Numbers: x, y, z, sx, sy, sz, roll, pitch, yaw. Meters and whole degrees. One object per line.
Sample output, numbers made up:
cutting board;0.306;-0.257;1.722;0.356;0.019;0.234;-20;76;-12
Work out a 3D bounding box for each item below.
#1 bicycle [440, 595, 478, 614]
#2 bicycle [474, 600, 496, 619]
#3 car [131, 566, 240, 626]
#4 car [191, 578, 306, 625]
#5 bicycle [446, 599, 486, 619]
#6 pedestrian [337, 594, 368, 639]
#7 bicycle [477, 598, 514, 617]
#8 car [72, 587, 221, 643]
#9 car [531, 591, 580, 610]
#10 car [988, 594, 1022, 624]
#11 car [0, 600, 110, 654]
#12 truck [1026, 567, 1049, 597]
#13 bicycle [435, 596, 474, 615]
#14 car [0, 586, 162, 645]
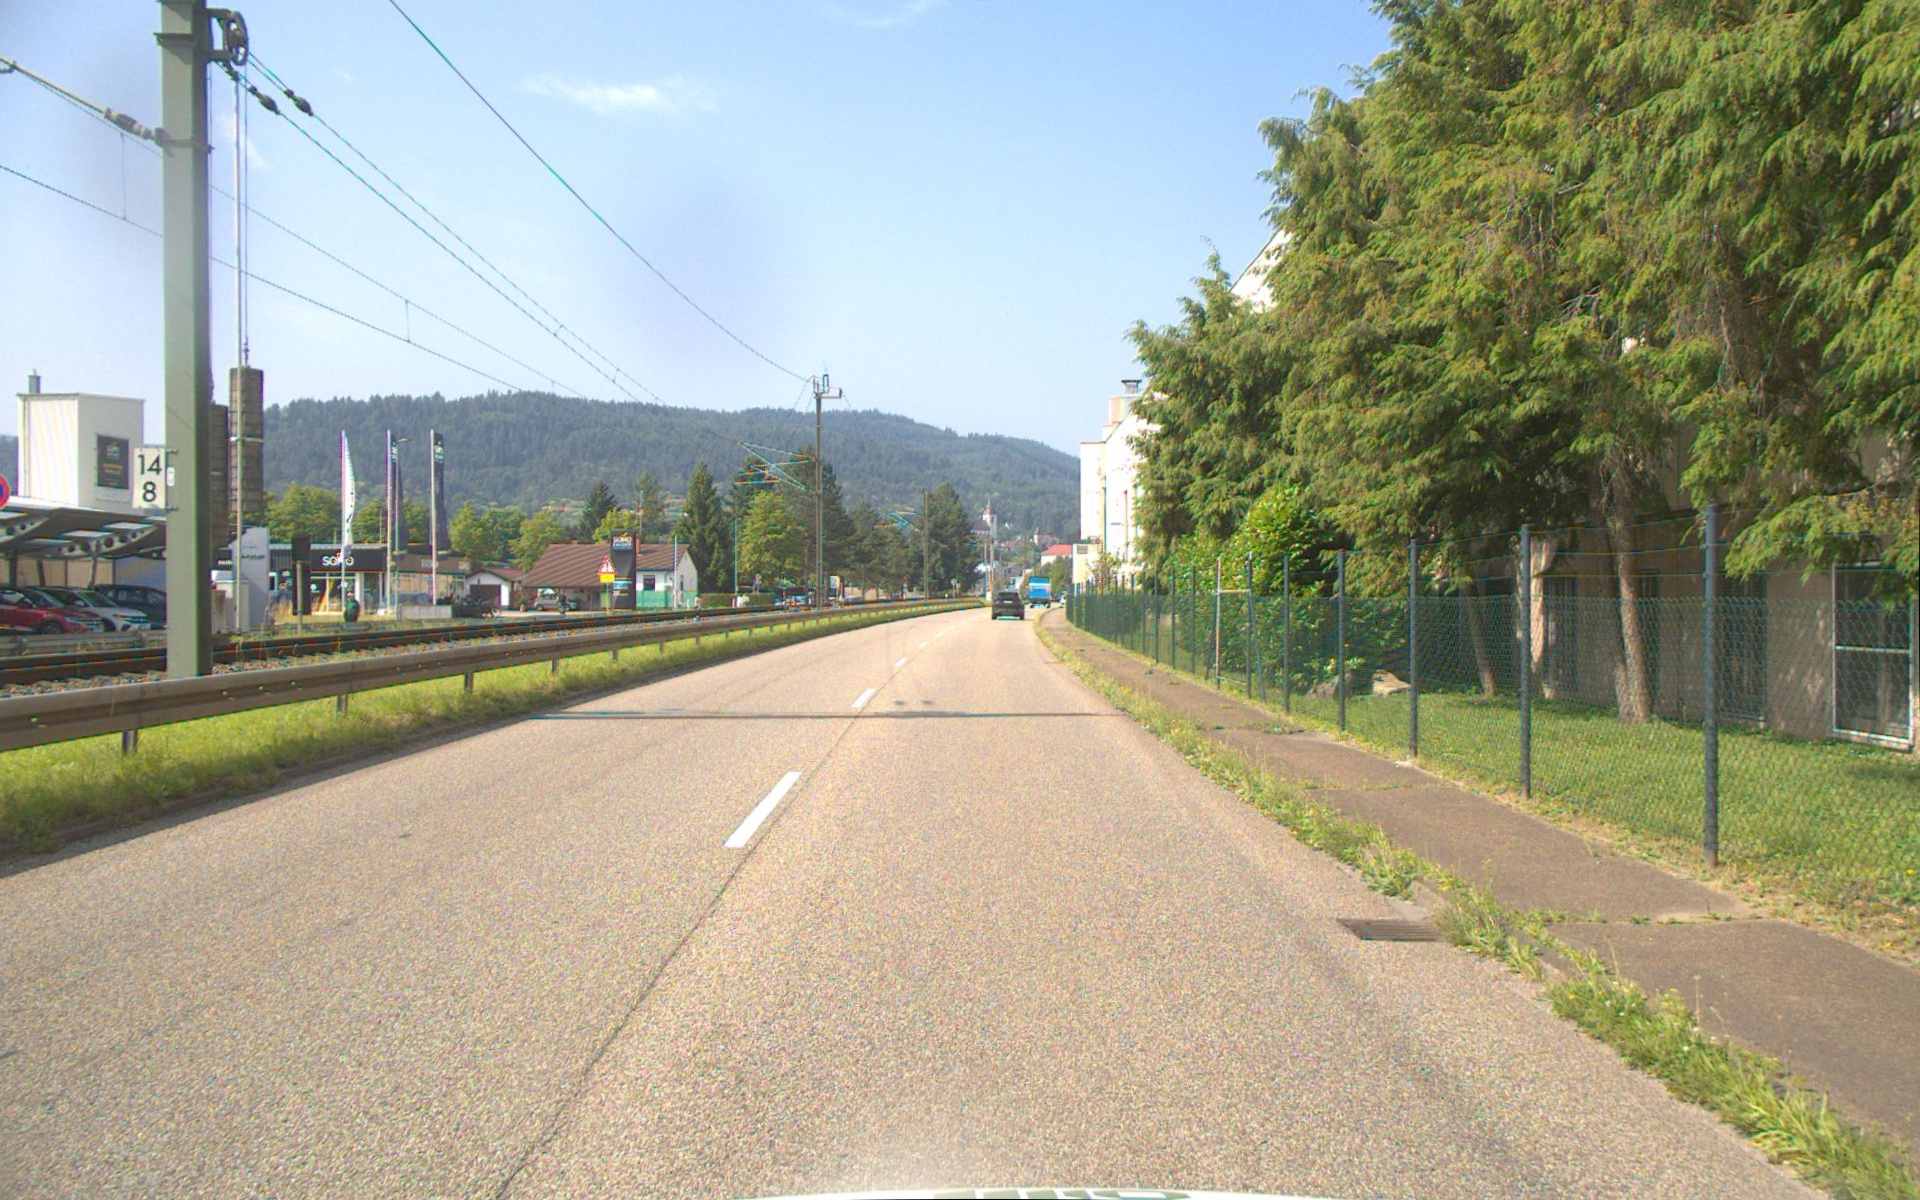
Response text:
bicycle;-30.640;0.263;101.242;2.126;1.150;0.729;0;0;-8
bicycle;-28.930;0.574;100.748;0.713;1.150;2.174;0;0;0
car;-37.100;-0.148;79.464;2.324;2.679;6.159;0;-2;-1
car;-28.580;0.081;66.505;3.952;1.557;1.505;5;-3;-34
bicycle;-29.178;0.508;97.638;0.715;1.150;2.314;-1;0;35
pedestrian;-23.919;0.648;65.112;0.785;1.765;0.835;0;0;23
bicycle;-29.185;0.484;103.940;2.126;1.150;0.729;0;0;-8
car;-26.485;0.513;53.957;1.634;1.650;4.005;3;0;43
car;-35.344;0.044;144.619;3.755;1.680;1.713;-1;0;4
car;2.609;0.521;94.836;1.879;1.668;4.001;0;0;2
car;-26.509;0.737;46.972;3.876;1.348;1.502;3;0;-1
truck;7.888;-1.829;167.909;2.264;3.022;5.969;0;0;4
bicycle;-30.681;0.334;100.453;2.122;1.150;0.730;0;0;1
car;-26.453;0.469;49.855;3.876;1.554;1.663;3;0;-1
